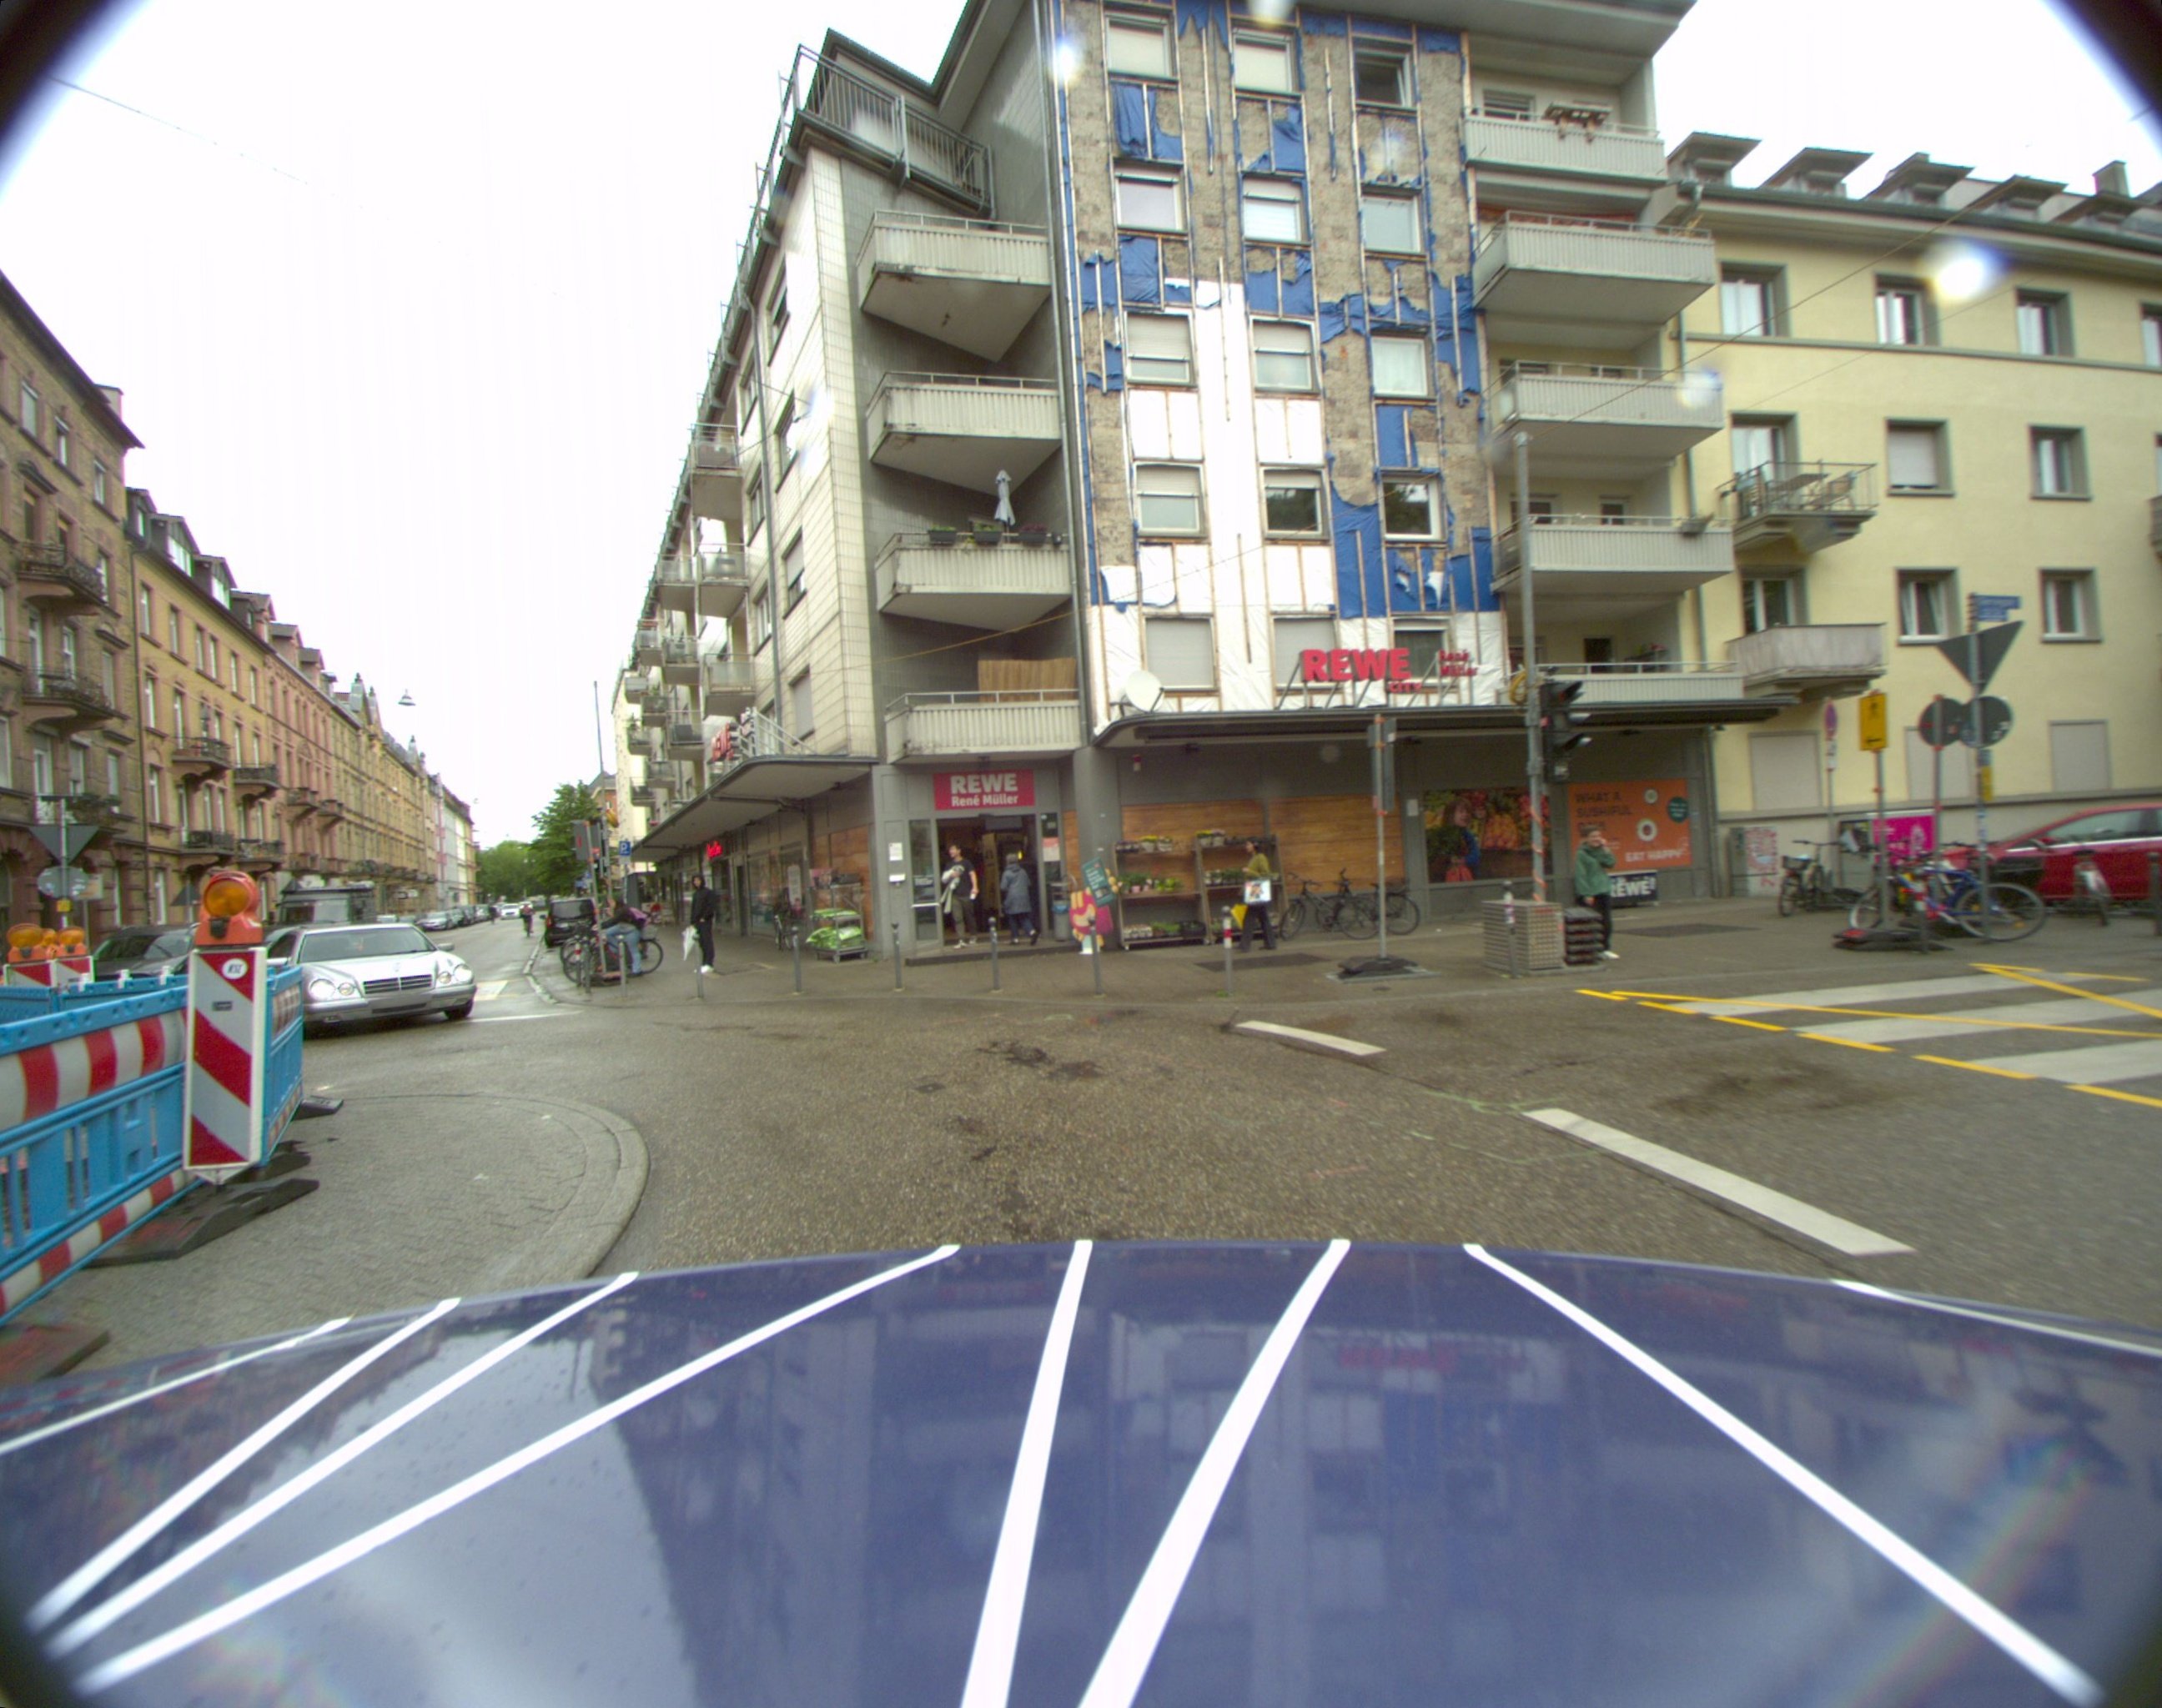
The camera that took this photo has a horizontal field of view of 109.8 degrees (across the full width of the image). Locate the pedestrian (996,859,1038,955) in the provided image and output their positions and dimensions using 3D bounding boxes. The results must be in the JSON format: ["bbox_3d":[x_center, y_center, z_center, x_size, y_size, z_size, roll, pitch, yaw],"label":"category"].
[{"bbox_3d":[-1.101,0.898,13.187,0.545,1.575,0.694,-4,1,1],"label":"pedestrian"}]

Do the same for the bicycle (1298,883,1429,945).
[{"bbox_3d":[4.723,1.001,12.778,1.997,0.965,0.590,-2,0,21],"label":"bicycle"}]

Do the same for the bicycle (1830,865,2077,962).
[{"bbox_3d":[10.512,0.665,9.285,0.589,0.965,2.000,-4,1,-5],"label":"bicycle"}]

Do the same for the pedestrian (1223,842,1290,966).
[{"bbox_3d":[2.618,0.723,11.422,0.693,1.755,0.864,-4,1,1],"label":"pedestrian"}]

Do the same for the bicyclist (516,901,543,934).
[{"bbox_3d":[-28.376,3.267,39.100,0.995,1.591,1.259,-4,-1,-36],"label":"bicyclist"}]

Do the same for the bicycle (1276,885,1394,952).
[{"bbox_3d":[4.066,1.037,12.185,1.688,0.965,0.569,-4,0,21],"label":"bicycle"}]

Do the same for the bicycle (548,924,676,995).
[{"bbox_3d":[-8.955,1.988,14.585,0.660,1.028,1.898,-5,1,41],"label":"bicycle"}]

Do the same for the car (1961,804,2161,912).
[{"bbox_3d":[17.754,0.014,12.321,2.003,1.661,4.448,-4,-1,-40],"label":"car"}]

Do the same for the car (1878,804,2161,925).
[{"bbox_3d":[15.474,0.139,11.537,2.003,1.670,4.448,-4,-1,-40],"label":"car"}]

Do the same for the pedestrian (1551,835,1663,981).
[{"bbox_3d":[6.132,0.610,8.893,0.799,1.606,0.605,-4,1,1],"label":"pedestrian"}]

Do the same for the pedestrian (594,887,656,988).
[{"bbox_3d":[-8.847,1.588,14.782,0.864,1.837,0.768,-4,0,-26],"label":"pedestrian"}]

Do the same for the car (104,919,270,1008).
[{"bbox_3d":[-22.397,2.644,19.240,1.906,1.779,3.991,-4,-1,-39],"label":"car"}]

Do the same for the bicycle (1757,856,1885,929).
[{"bbox_3d":[11.848,0.586,12.159,2.002,0.965,0.588,-4,2,-18],"label":"bicycle"}]

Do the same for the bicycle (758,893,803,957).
[{"bbox_3d":[-7.015,1.613,17.687,0.451,1.366,2.019,-7,1,-33],"label":"bicycle"}]

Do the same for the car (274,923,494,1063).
[{"bbox_3d":[-10.389,1.834,11.171,4.967,1.390,1.864,-4,-1,42],"label":"car"}]

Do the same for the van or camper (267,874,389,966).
[{"bbox_3d":[-31.317,2.660,31.896,2.417,3.307,7.057,-4,-1,-36],"label":"van or camper"}]

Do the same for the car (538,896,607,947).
[{"bbox_3d":[-20.617,2.681,30.736,1.906,1.779,3.991,-4,-1,-39],"label":"car"}]

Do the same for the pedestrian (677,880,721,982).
[{"bbox_3d":[-7.241,1.432,14.421,0.605,1.837,0.768,-4,0,-26],"label":"pedestrian"}]

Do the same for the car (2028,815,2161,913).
[{"bbox_3d":[20.072,0.107,13.192,2.003,1.661,4.448,-4,-1,-40],"label":"car"}]

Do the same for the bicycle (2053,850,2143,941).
[{"bbox_3d":[13.178,0.493,9.882,2.004,0.965,0.588,-5,2,-39],"label":"bicycle"}]

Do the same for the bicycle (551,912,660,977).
[{"bbox_3d":[-11.121,2.090,17.847,2.026,1.189,0.549,-6,1,-29],"label":"bicycle"}]

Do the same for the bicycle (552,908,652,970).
[{"bbox_3d":[-12.233,2.156,19.473,2.026,1.271,0.549,-6,1,-29],"label":"bicycle"}]

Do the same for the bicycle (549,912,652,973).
[{"bbox_3d":[-11.932,2.175,18.953,2.036,1.189,0.549,-6,1,-29],"label":"bicycle"}]

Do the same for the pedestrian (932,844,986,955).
[{"bbox_3d":[-2.162,0.797,13.544,0.719,1.886,0.605,-4,1,1],"label":"pedestrian"}]

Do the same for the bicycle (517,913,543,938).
[{"bbox_3d":[-28.347,3.661,39.104,0.995,1.149,2.870,-4,-1,-36],"label":"bicycle"}]
